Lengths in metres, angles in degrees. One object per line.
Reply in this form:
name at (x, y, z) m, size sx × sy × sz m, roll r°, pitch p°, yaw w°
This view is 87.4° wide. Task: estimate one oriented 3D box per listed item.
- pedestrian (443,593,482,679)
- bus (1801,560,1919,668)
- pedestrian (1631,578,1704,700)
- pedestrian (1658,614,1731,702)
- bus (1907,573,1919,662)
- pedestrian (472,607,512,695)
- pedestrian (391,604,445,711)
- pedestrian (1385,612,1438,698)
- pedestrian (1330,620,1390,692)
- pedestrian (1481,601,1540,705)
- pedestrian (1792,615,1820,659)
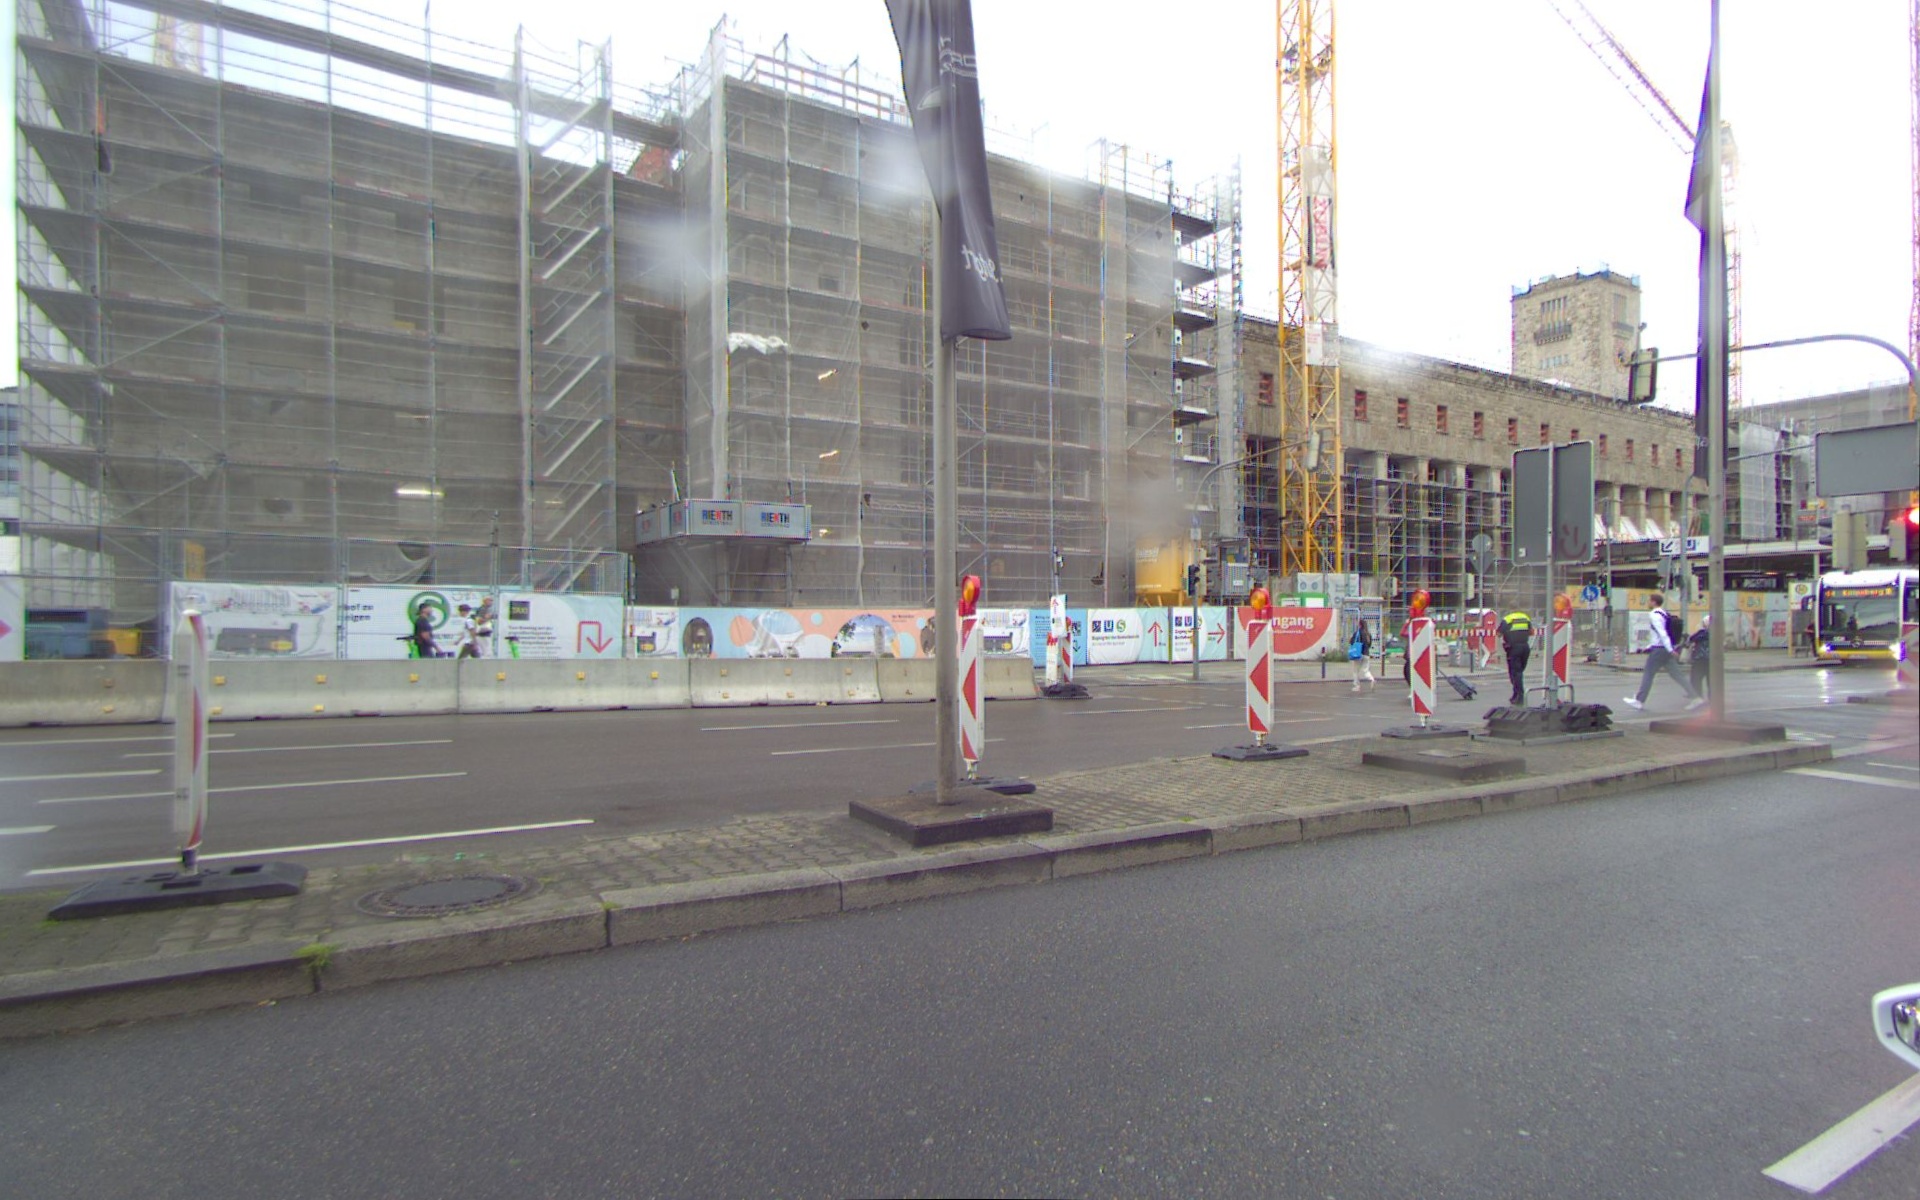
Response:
pedestrian at (-10.975, 0.786, 22.153) m, size 0.709 × 1.860 × 0.478 m, roll 1°, pitch 0°, yaw -30°
bus at (35.392, 0.601, 37.633) m, size 10.119 × 3.650 × 2.655 m, roll 2°, pitch 0°, yaw -30°
pedestrian at (11.468, 0.615, 16.294) m, size 0.614 × 1.915 × 0.793 m, roll 1°, pitch 0°, yaw -38°
pedestrian at (13.838, 1.069, 18.923) m, size 0.779 × 1.581 × 0.867 m, roll 1°, pitch 0°, yaw -33°
bus at (44.049, 0.856, 42.766) m, size 10.092 × 3.650 × 2.655 m, roll 2°, pitch 0°, yaw -30°
pedestrian at (-10.128, 1.088, 21.717) m, size 0.709 × 1.860 × 0.478 m, roll 1°, pitch 0°, yaw -30°
pedestrian at (-9.769, 1.023, 18.096) m, size 0.810 × 1.860 × 0.575 m, roll 1°, pitch 0°, yaw -30°
pedestrian at (9.316, 1.130, 20.742) m, size 0.613 × 1.740 × 0.794 m, roll 1°, pitch -2°, yaw -33°
pedestrian at (9.189, 1.267, 23.107) m, size 0.890 × 1.584 × 0.909 m, roll 1°, pitch 0°, yaw -33°
pedestrian at (10.106, 0.965, 18.433) m, size 0.810 × 1.860 × 0.575 m, roll 1°, pitch 0°, yaw -30°
pedestrian at (33.741, 1.473, 40.069) m, size 0.637 × 1.703 × 0.656 m, roll 1°, pitch 0°, yaw -30°
